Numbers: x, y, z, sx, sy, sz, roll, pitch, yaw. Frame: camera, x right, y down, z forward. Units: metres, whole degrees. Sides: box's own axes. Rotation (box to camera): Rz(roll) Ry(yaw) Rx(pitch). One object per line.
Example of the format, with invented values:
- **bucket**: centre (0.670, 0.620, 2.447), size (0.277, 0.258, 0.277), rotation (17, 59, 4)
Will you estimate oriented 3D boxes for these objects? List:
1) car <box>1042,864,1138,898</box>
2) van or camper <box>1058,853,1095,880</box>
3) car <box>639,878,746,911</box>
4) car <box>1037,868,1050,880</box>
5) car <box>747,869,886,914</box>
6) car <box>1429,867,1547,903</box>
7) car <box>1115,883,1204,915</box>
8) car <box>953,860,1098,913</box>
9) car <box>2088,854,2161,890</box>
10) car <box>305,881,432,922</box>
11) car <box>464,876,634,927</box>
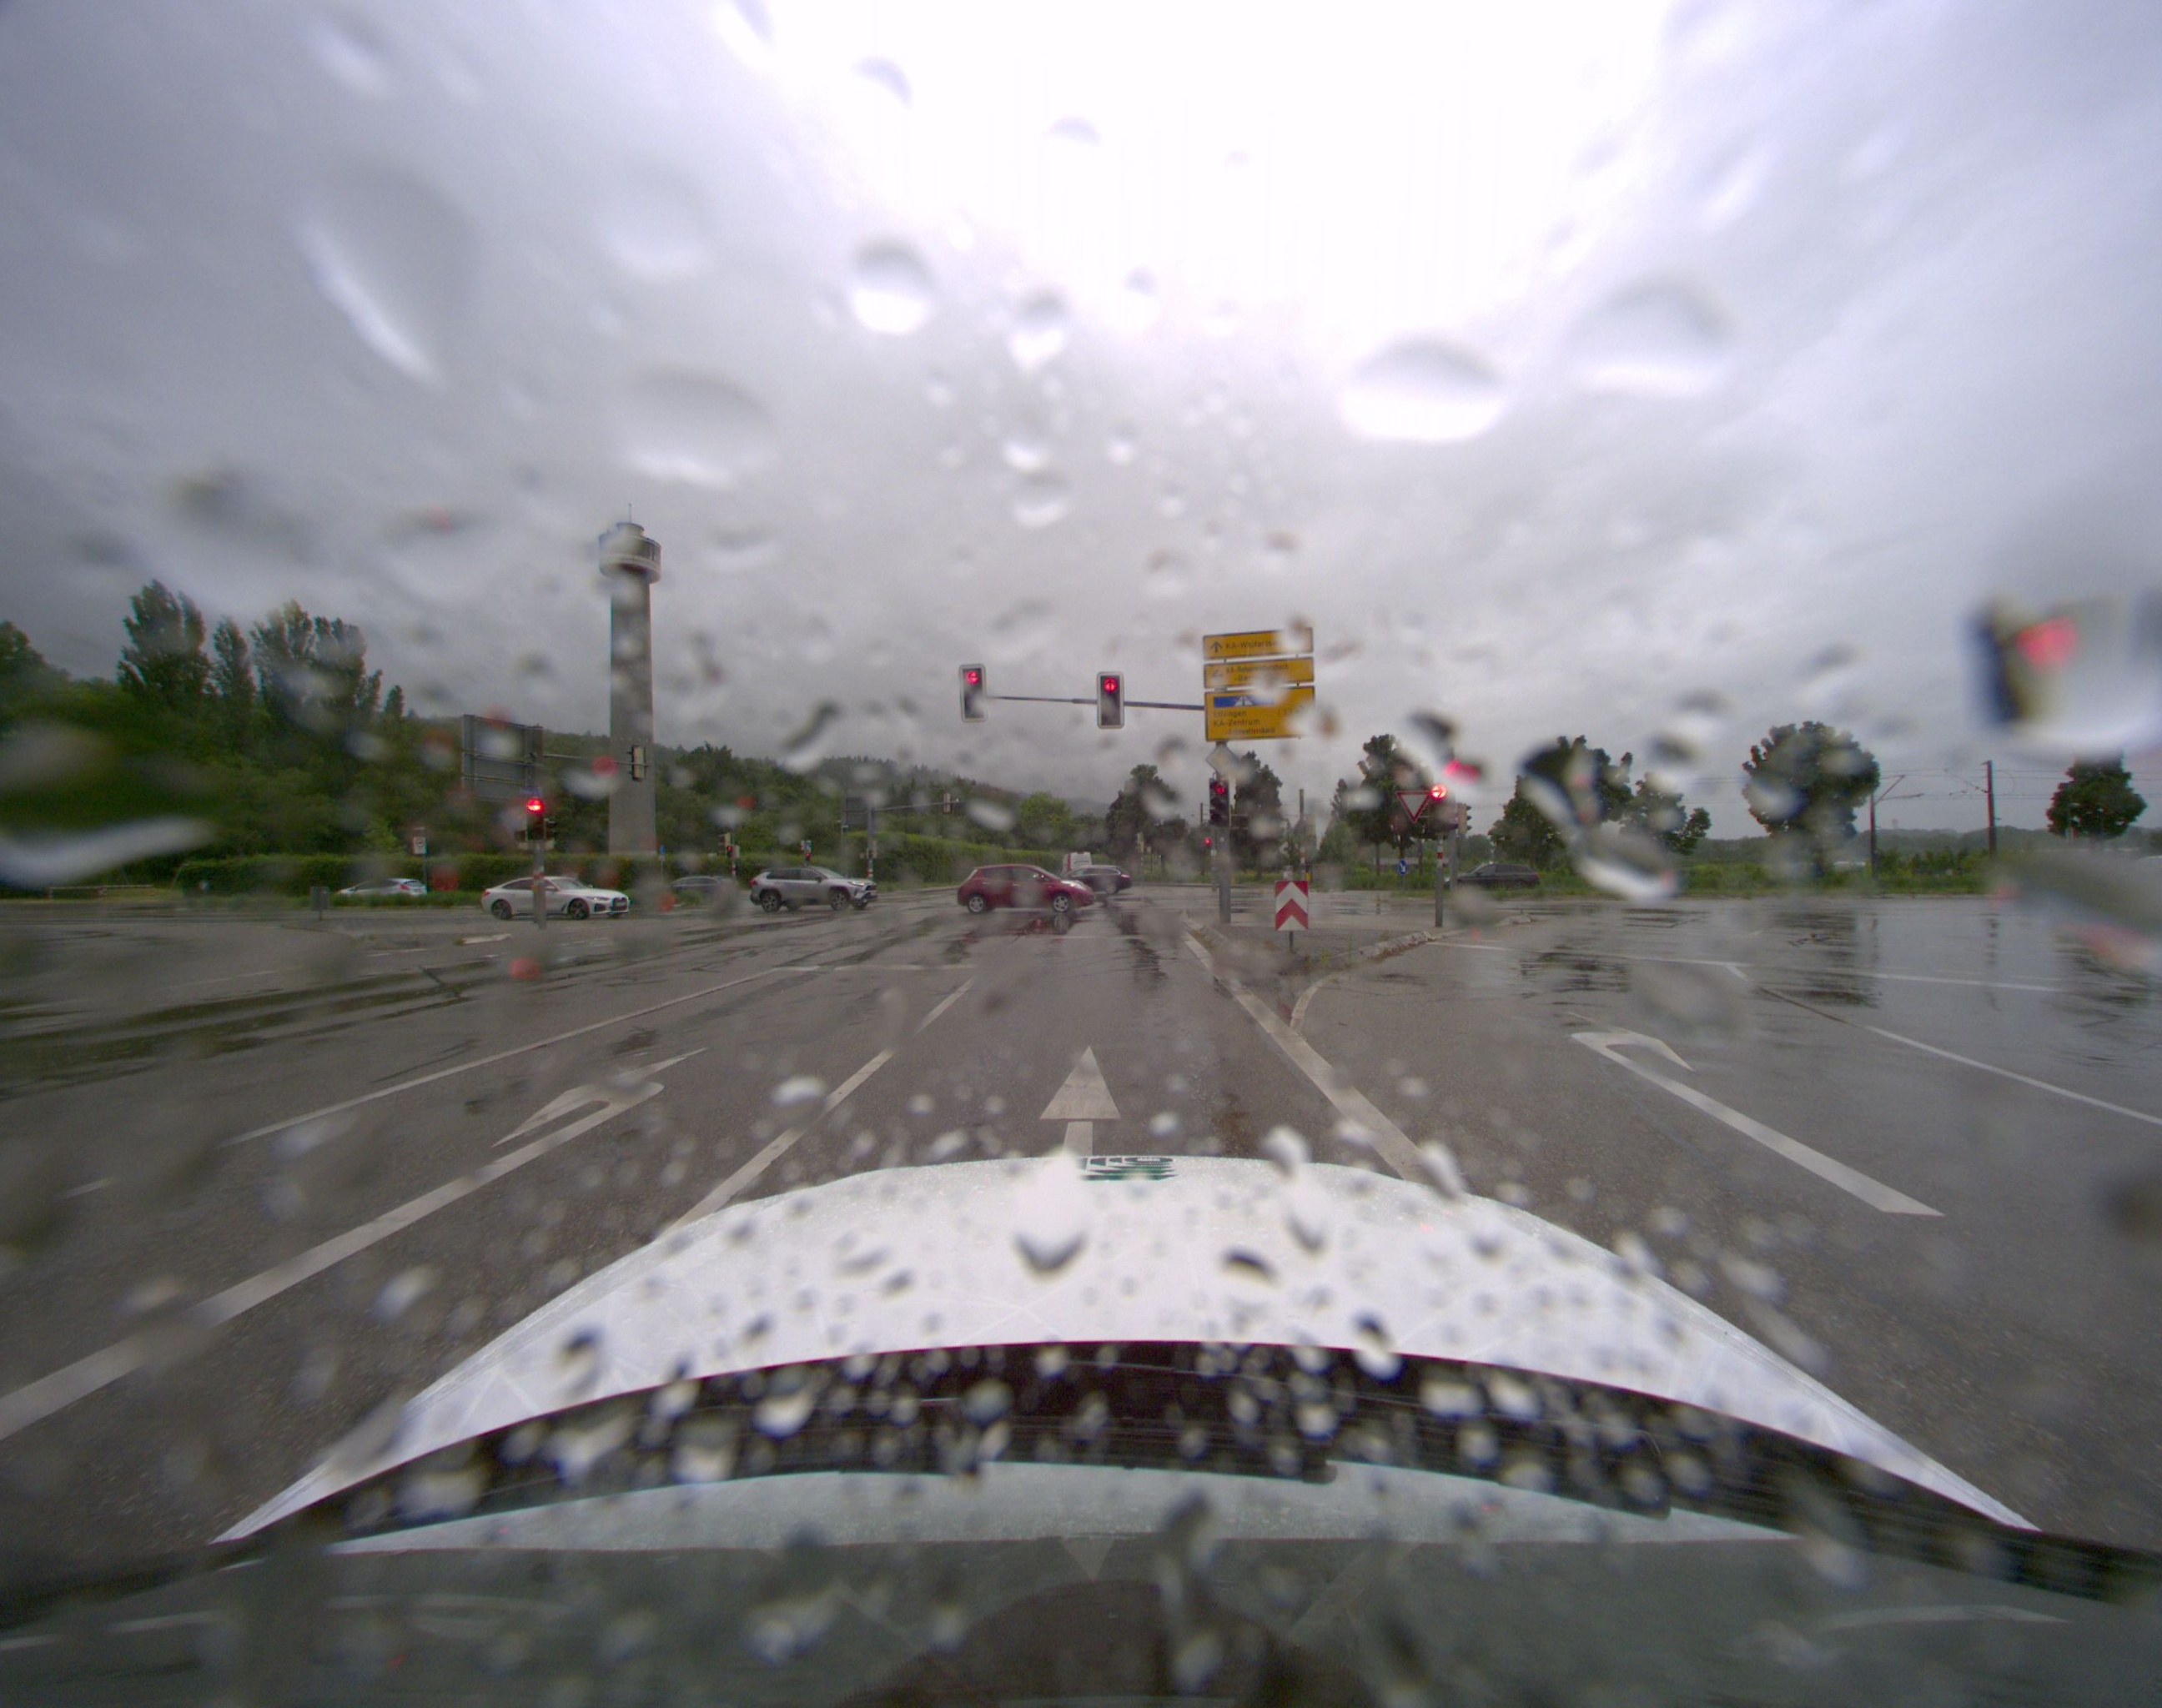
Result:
- **car**: centre (0.500, 1.364, 41.084), size (4.648, 1.553, 1.825), rotation (-1, -1, 4)
- **van or camper**: centre (-0.441, 1.079, 71.024), size (2.156, 2.169, 4.843), rotation (-1, -1, -13)
- **car**: centre (-20.271, 2.090, 42.634), size (4.652, 1.553, 1.823), rotation (-1, -1, 1)
- **car**: centre (-4.990, 2.643, 108.350), size (1.553, 1.481, 3.361), rotation (-1, 0, 1)
- **car**: centre (-9.803, 1.377, 30.326), size (4.500, 1.579, 1.917), rotation (0, 0, 9)
- **car**: centre (19.278, 1.462, 38.762), size (4.641, 1.553, 1.827), rotation (-1, -1, 9)
- **car**: centre (4.256, 2.422, 44.291), size (4.647, 1.553, 1.825), rotation (-1, -1, 5)
- **car**: centre (-1.734, 1.026, 26.098), size (4.351, 1.579, 1.736), rotation (-1, -1, 7)
- **car**: centre (48.627, 0.773, 36.419), size (4.303, 1.553, 1.829), rotation (-2, -1, 13)
- **car**: centre (-36.960, 2.427, 42.351), size (4.663, 1.915, 1.911), rotation (-1, -1, -6)
- **car**: centre (-18.134, 1.617, 27.838), size (4.853, 1.553, 1.804), rotation (-1, -1, 9)
